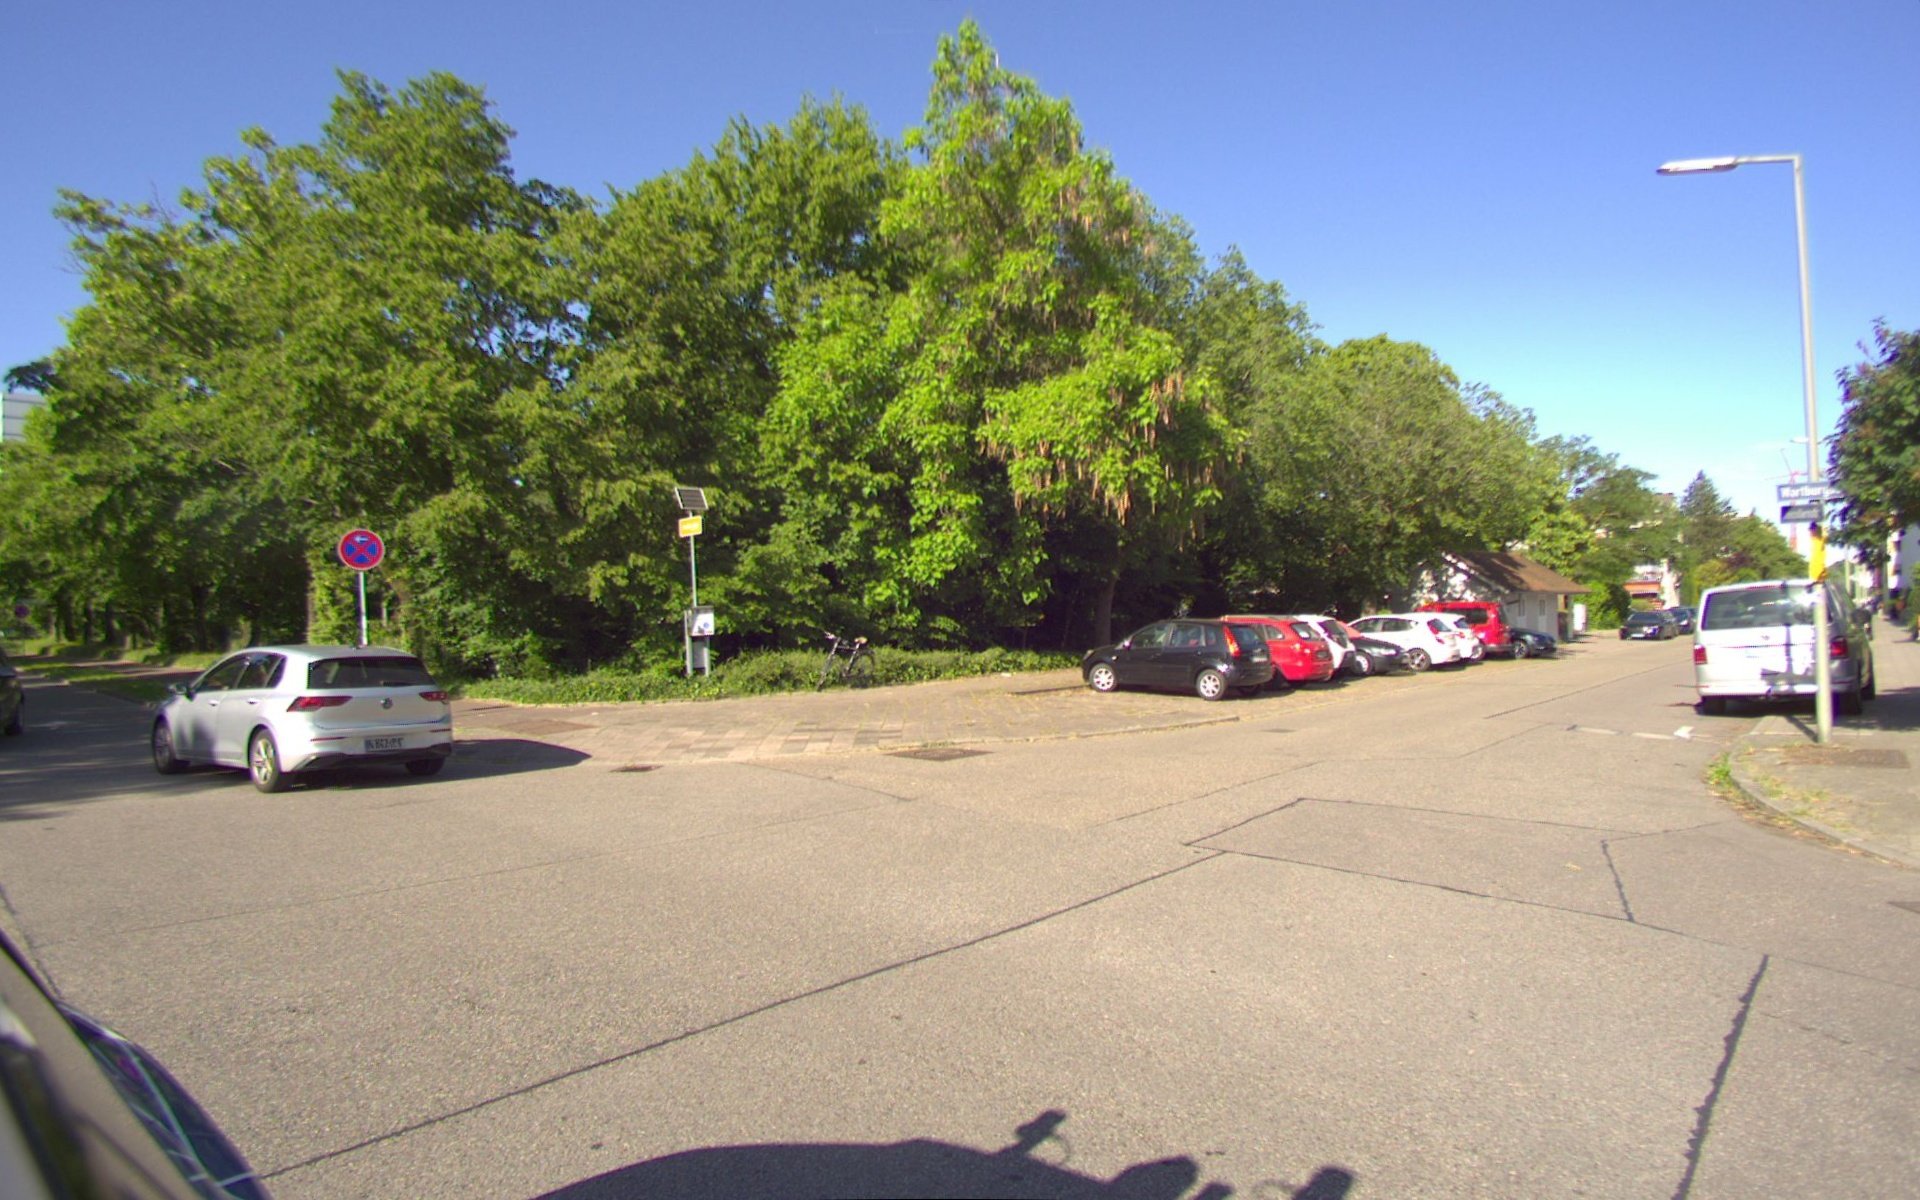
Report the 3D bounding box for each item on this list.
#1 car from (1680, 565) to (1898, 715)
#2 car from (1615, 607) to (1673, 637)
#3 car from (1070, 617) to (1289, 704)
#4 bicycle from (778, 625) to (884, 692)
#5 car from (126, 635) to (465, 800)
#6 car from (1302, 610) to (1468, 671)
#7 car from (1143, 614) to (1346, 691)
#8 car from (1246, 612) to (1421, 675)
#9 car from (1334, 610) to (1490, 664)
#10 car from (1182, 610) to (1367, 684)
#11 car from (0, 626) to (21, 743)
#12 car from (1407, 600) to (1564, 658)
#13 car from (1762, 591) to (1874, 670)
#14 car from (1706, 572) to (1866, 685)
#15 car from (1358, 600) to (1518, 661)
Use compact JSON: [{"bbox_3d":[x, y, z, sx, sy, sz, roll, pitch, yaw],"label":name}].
[{"bbox_3d":[12.926,0.598,15.676,4.400,1.984,2.070,1,-4,-45],"label":"car"},{"bbox_3d":[34.125,1.072,50.461,1.770,1.430,3.845,-3,-2,43],"label":"car"},{"bbox_3d":[4.205,1.092,19.744,3.884,1.498,1.652,-1,-1,42],"label":"car"},{"bbox_3d":[-2.441,1.084,19.289,1.874,1.161,0.762,0,1,-37],"label":"bicycle"},{"bbox_3d":[-7.442,1.151,11.208,4.178,1.478,1.647,-1,-2,34],"label":"car"},{"bbox_3d":[11.643,1.055,27.845,3.884,1.569,1.652,-1,-1,42],"label":"car"},{"bbox_3d":[6.031,1.058,21.712,3.884,1.498,1.652,-1,-1,42],"label":"car"},{"bbox_3d":[9.500,1.058,25.904,3.884,1.498,1.652,-1,-1,42],"label":"car"},{"bbox_3d":[13.233,1.037,29.764,3.884,1.498,1.652,-1,-1,42],"label":"car"},{"bbox_3d":[7.423,1.045,24.077,3.884,1.615,1.652,-1,-1,42],"label":"car"},{"bbox_3d":[-14.661,1.228,14.207,1.826,1.657,3.763,0,-2,-38],"label":"car"},{"bbox_3d":[17.412,0.928,33.638,4.354,1.784,1.652,-1,-1,42],"label":"car"},{"bbox_3d":[21.198,0.732,24.978,1.921,1.796,4.039,-3,-2,42],"label":"car"},{"bbox_3d":[16.529,0.545,20.192,3.940,2.013,1.938,0,-2,-44],"label":"car"},{"bbox_3d":[15.277,0.930,32.475,4.354,1.821,1.652,-1,-1,42],"label":"car"}]
